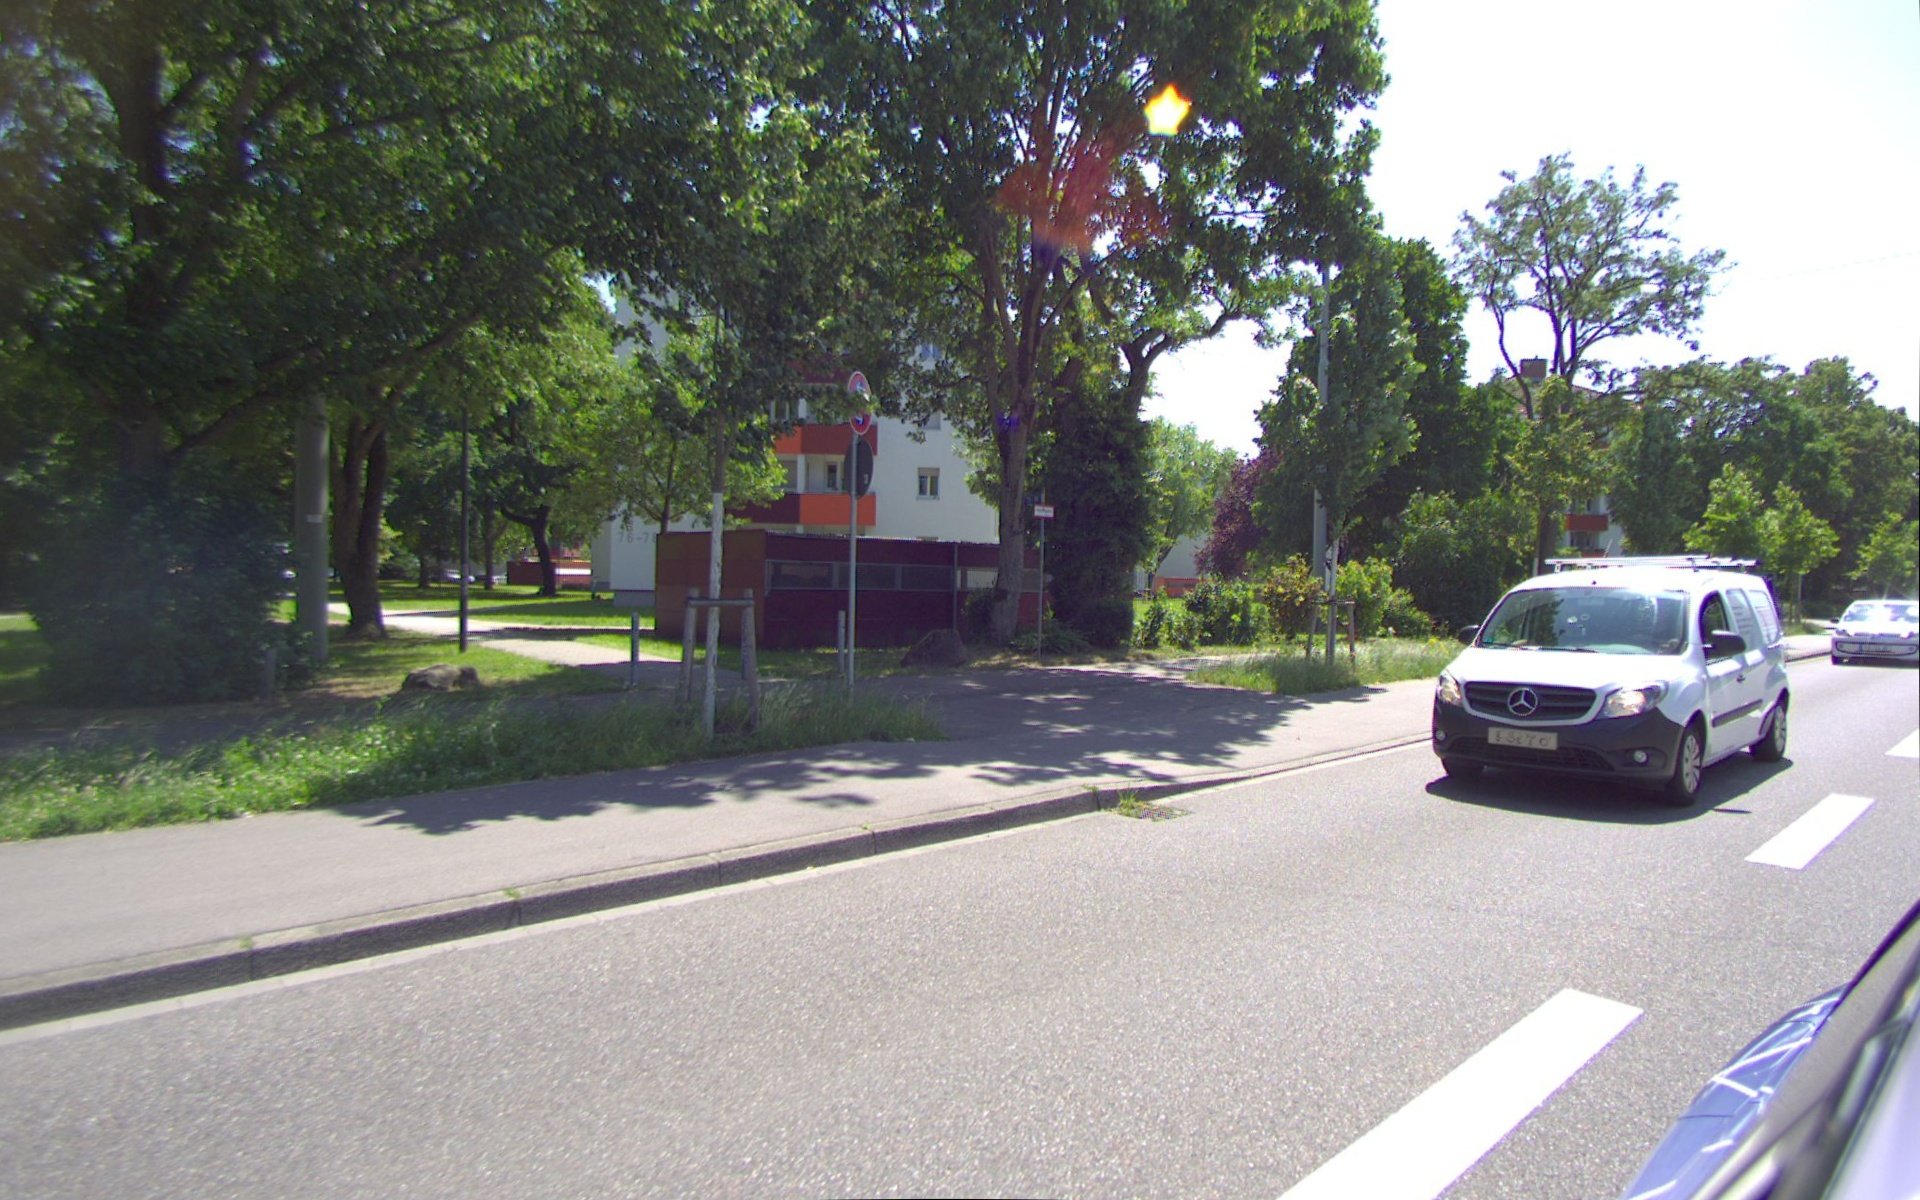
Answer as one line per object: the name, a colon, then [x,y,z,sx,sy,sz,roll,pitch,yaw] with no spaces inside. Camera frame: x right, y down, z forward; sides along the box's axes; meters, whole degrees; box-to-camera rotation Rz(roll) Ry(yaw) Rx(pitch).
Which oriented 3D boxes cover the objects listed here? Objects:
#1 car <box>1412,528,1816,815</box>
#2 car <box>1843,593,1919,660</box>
car: [6.017,0.460,8.997,4.995,1.879,1.807,0,0,-42]
car: [21.697,0.567,23.387,3.439,1.459,1.624,0,0,-43]
